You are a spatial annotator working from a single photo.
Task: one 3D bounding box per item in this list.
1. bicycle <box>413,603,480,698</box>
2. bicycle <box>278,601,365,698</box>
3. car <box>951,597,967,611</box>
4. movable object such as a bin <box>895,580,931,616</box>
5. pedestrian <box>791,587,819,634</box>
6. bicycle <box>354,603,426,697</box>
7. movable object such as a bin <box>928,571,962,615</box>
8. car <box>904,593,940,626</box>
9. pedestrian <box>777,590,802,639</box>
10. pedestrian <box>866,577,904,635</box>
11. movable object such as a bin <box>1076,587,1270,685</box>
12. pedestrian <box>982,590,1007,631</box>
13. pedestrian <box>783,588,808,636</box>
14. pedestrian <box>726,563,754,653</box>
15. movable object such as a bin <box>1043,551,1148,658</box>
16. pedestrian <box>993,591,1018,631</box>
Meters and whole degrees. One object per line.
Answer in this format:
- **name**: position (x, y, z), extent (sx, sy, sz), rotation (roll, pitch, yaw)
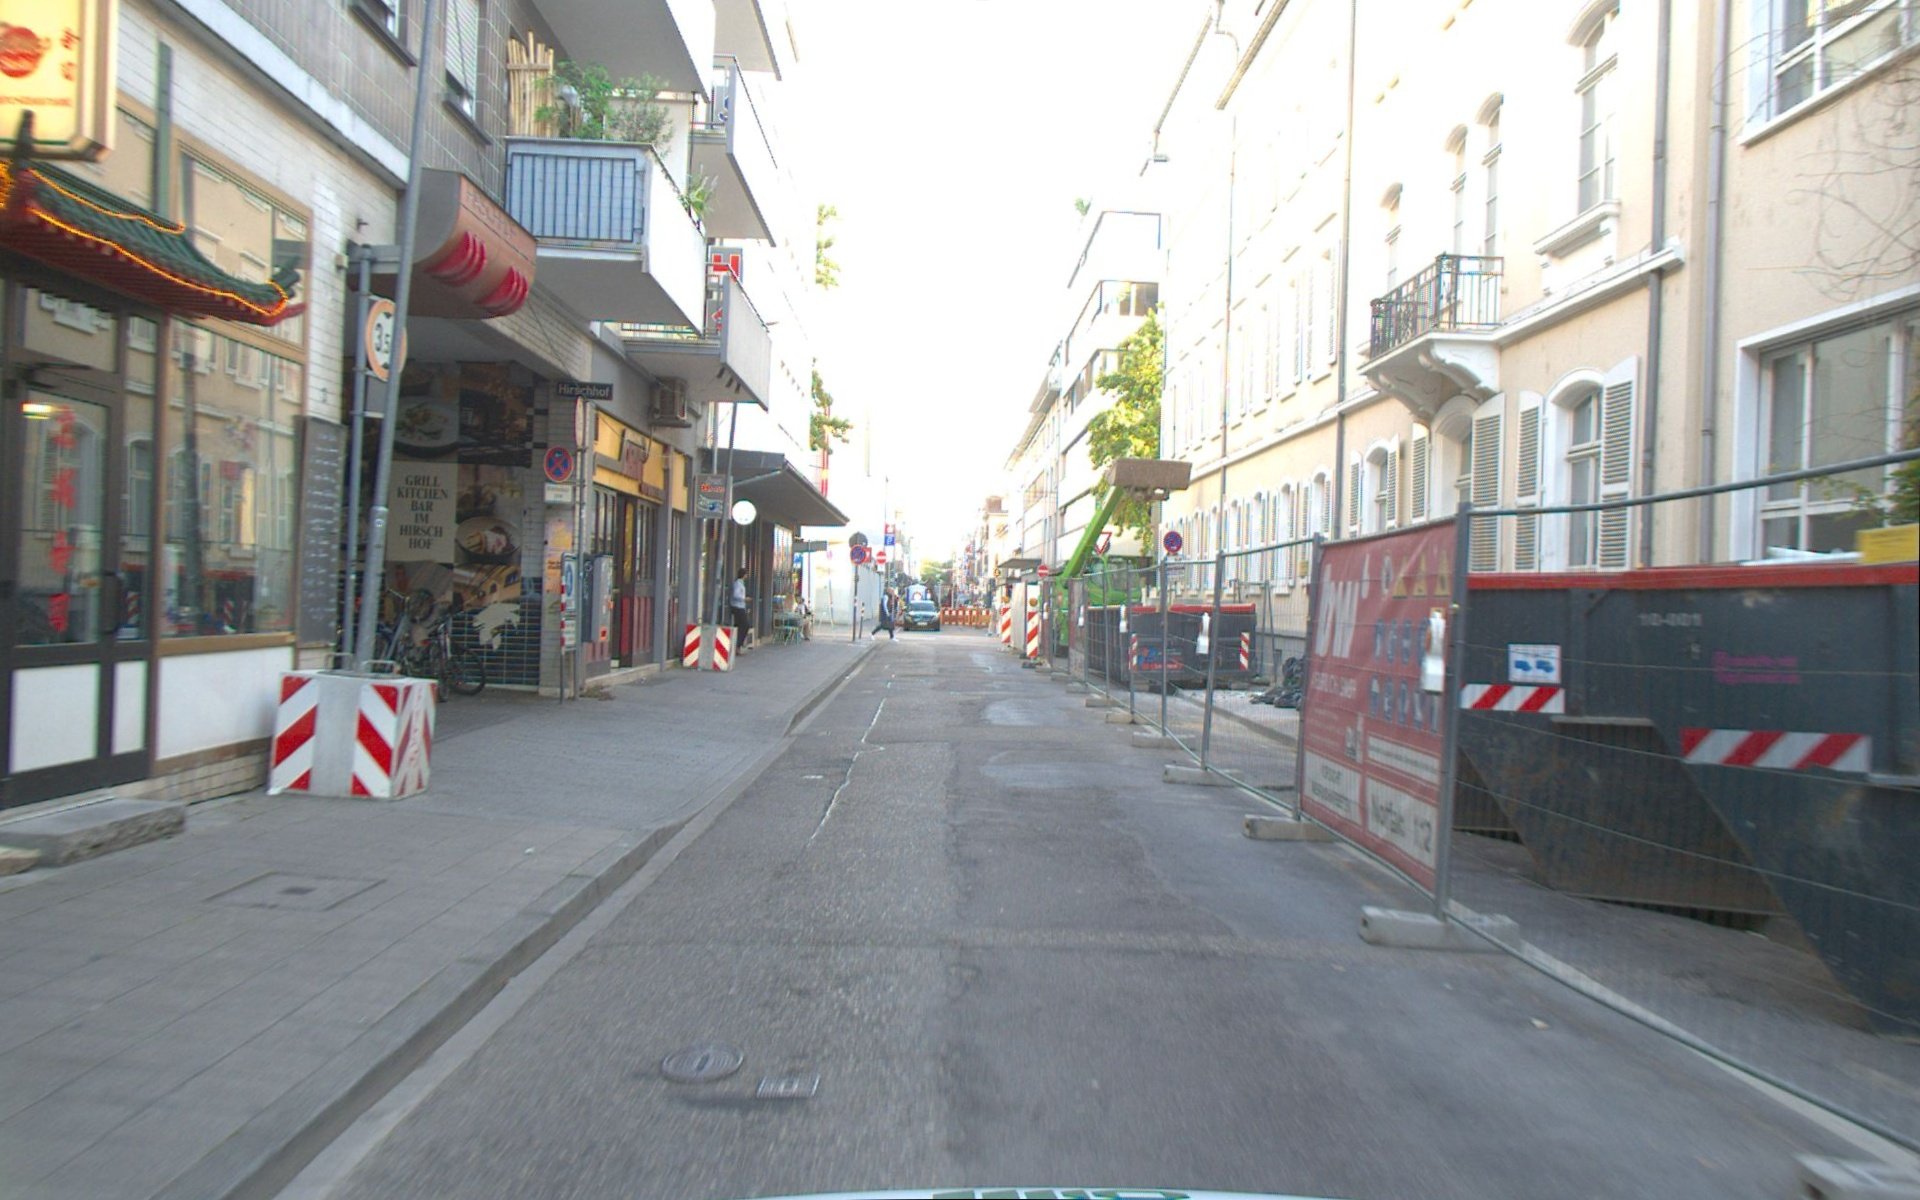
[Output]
- **bicycle**: position (-5.828, 0.557, 18.824), extent (0.370, 0.977, 1.501), rotation (2, 1, -4)
- **bicycle**: position (-7.157, 0.536, 18.598), extent (0.370, 0.977, 1.795), rotation (2, 1, -4)
- **car**: position (-0.149, 0.537, 220.888), extent (1.953, 1.808, 3.999), rotation (1, 0, -1)
- **movable object such as a bin**: position (-2.720, -0.116, 96.684), extent (1.953, 2.049, 3.999), rotation (1, 0, -1)
- **pedestrian**: position (-4.431, 0.301, 47.359), extent (0.688, 1.297, 0.713), rotation (3, 0, -1)
- **bicycle**: position (-6.495, 0.546, 18.891), extent (0.370, 0.977, 1.501), rotation (2, 1, -4)
- **movable object such as a bin**: position (-0.983, -0.419, 106.868), extent (2.113, 2.710, 4.571), rotation (2, 0, -1)
- **car**: position (-1.879, 0.453, 81.434), extent (1.597, 1.577, 3.139), rotation (1, 0, -4)
- **pedestrian**: position (-4.660, 0.397, 45.251), extent (0.561, 1.297, 0.713), rotation (3, 0, -1)
- **pedestrian**: position (-2.455, 0.200, 53.976), extent (1.056, 1.867, 0.693), rotation (1, 0, -22)
- **movable object such as a bin**: position (4.122, 0.638, 33.653), extent (2.681, 1.667, 7.549), rotation (2, 0, -2)
- **pedestrian**: position (1.407, 0.437, 68.080), extent (0.606, 1.656, 0.860), rotation (1, 0, -40)
- **pedestrian**: position (-4.593, 0.343, 46.263), extent (0.561, 1.297, 0.713), rotation (4, 0, -1)
- **pedestrian**: position (-4.636, 0.162, 34.843), extent (0.520, 1.866, 0.562), rotation (1, 0, -7)
- **movable object such as a bin**: position (3.838, 0.112, 47.718), extent (2.552, 2.888, 4.449), rotation (1, 0, -1)
- **pedestrian**: position (1.889, 0.444, 68.489), extent (0.606, 1.656, 0.860), rotation (1, 0, -40)
